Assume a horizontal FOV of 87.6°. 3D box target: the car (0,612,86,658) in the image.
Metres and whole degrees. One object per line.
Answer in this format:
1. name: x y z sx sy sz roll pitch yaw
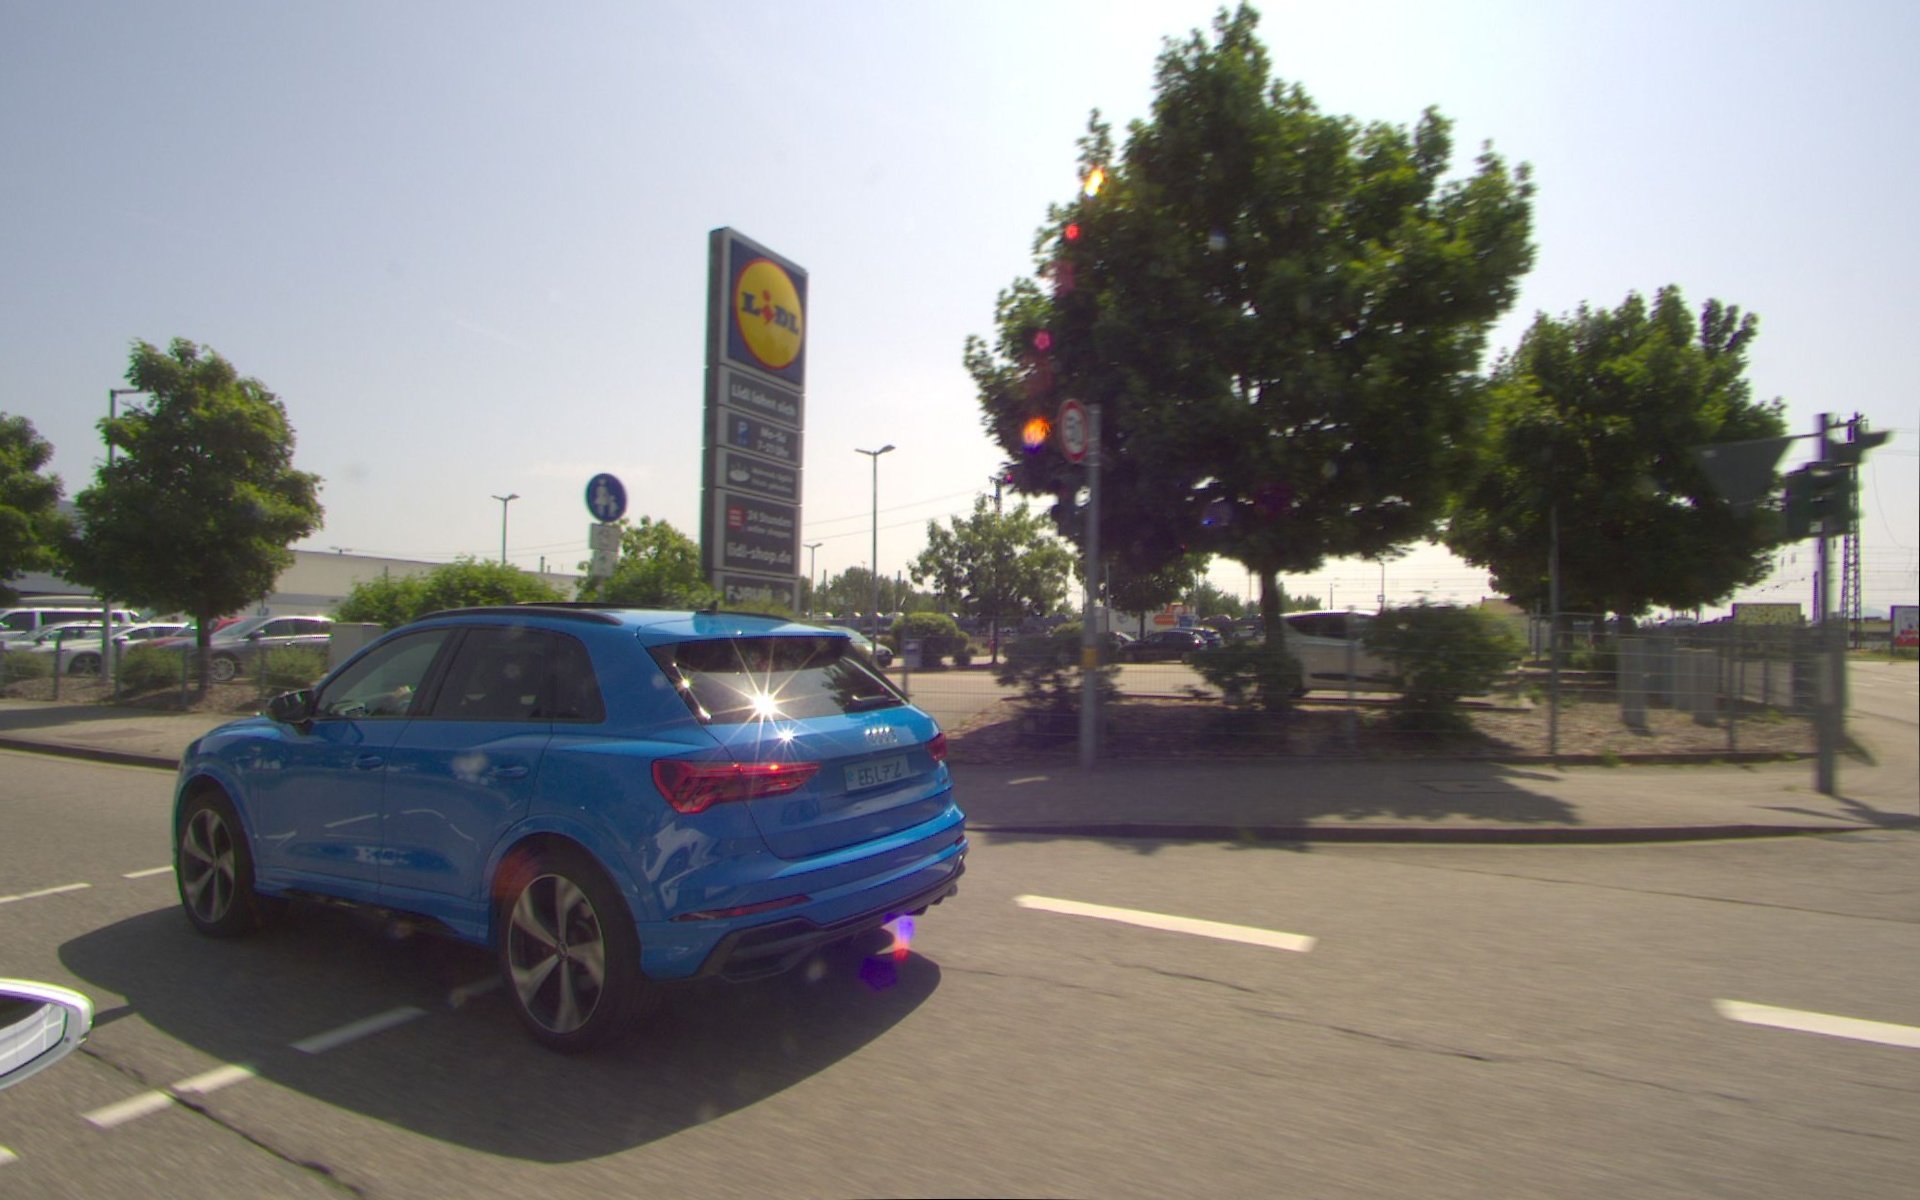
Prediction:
1. car: -30.370 1.093 31.468 1.798 1.407 3.986 0 -3 28

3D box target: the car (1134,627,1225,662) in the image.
1. car: 10.024 2.010 45.845 3.746 1.497 1.628 -1 -1 32

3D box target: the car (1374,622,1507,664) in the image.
1. car: 17.667 1.552 36.900 4.264 1.468 1.701 -1 -1 34

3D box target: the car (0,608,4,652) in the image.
1. car: -35.641 1.000 34.174 1.799 1.553 3.986 -1 -3 28

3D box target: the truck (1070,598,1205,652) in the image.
1. truck: 13.559 1.890 76.853 9.885 3.887 2.846 -1 -1 31

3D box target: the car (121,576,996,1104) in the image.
1. car: -2.133 0.786 4.971 4.285 1.613 1.807 0 -2 31

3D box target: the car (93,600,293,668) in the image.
1. car: -19.157 0.874 25.184 1.694 1.556 3.593 0 -2 24

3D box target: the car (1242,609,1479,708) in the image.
1. car: 6.552 0.891 16.462 3.478 1.458 1.419 0 0 28

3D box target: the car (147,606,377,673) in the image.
1. car: -16.447 0.948 23.840 1.672 1.439 4.167 0 -3 30

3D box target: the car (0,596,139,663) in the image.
1. car: -28.074 0.899 30.309 1.798 1.948 4.616 0 -3 28

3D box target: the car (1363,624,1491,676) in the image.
1. car: 13.966 1.469 30.011 3.372 1.467 1.701 0 -1 26

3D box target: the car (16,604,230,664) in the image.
1. car: -21.932 0.926 26.418 1.671 1.439 3.996 0 -3 28

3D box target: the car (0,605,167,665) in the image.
1. car: -25.743 1.015 28.689 1.799 1.613 4.364 0 -3 30

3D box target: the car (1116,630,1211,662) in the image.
1. car: 8.820 1.966 43.461 3.746 1.305 1.628 -1 -1 32

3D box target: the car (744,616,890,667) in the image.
1. car: -4.227 1.200 29.406 4.017 1.412 1.734 -1 -2 28
